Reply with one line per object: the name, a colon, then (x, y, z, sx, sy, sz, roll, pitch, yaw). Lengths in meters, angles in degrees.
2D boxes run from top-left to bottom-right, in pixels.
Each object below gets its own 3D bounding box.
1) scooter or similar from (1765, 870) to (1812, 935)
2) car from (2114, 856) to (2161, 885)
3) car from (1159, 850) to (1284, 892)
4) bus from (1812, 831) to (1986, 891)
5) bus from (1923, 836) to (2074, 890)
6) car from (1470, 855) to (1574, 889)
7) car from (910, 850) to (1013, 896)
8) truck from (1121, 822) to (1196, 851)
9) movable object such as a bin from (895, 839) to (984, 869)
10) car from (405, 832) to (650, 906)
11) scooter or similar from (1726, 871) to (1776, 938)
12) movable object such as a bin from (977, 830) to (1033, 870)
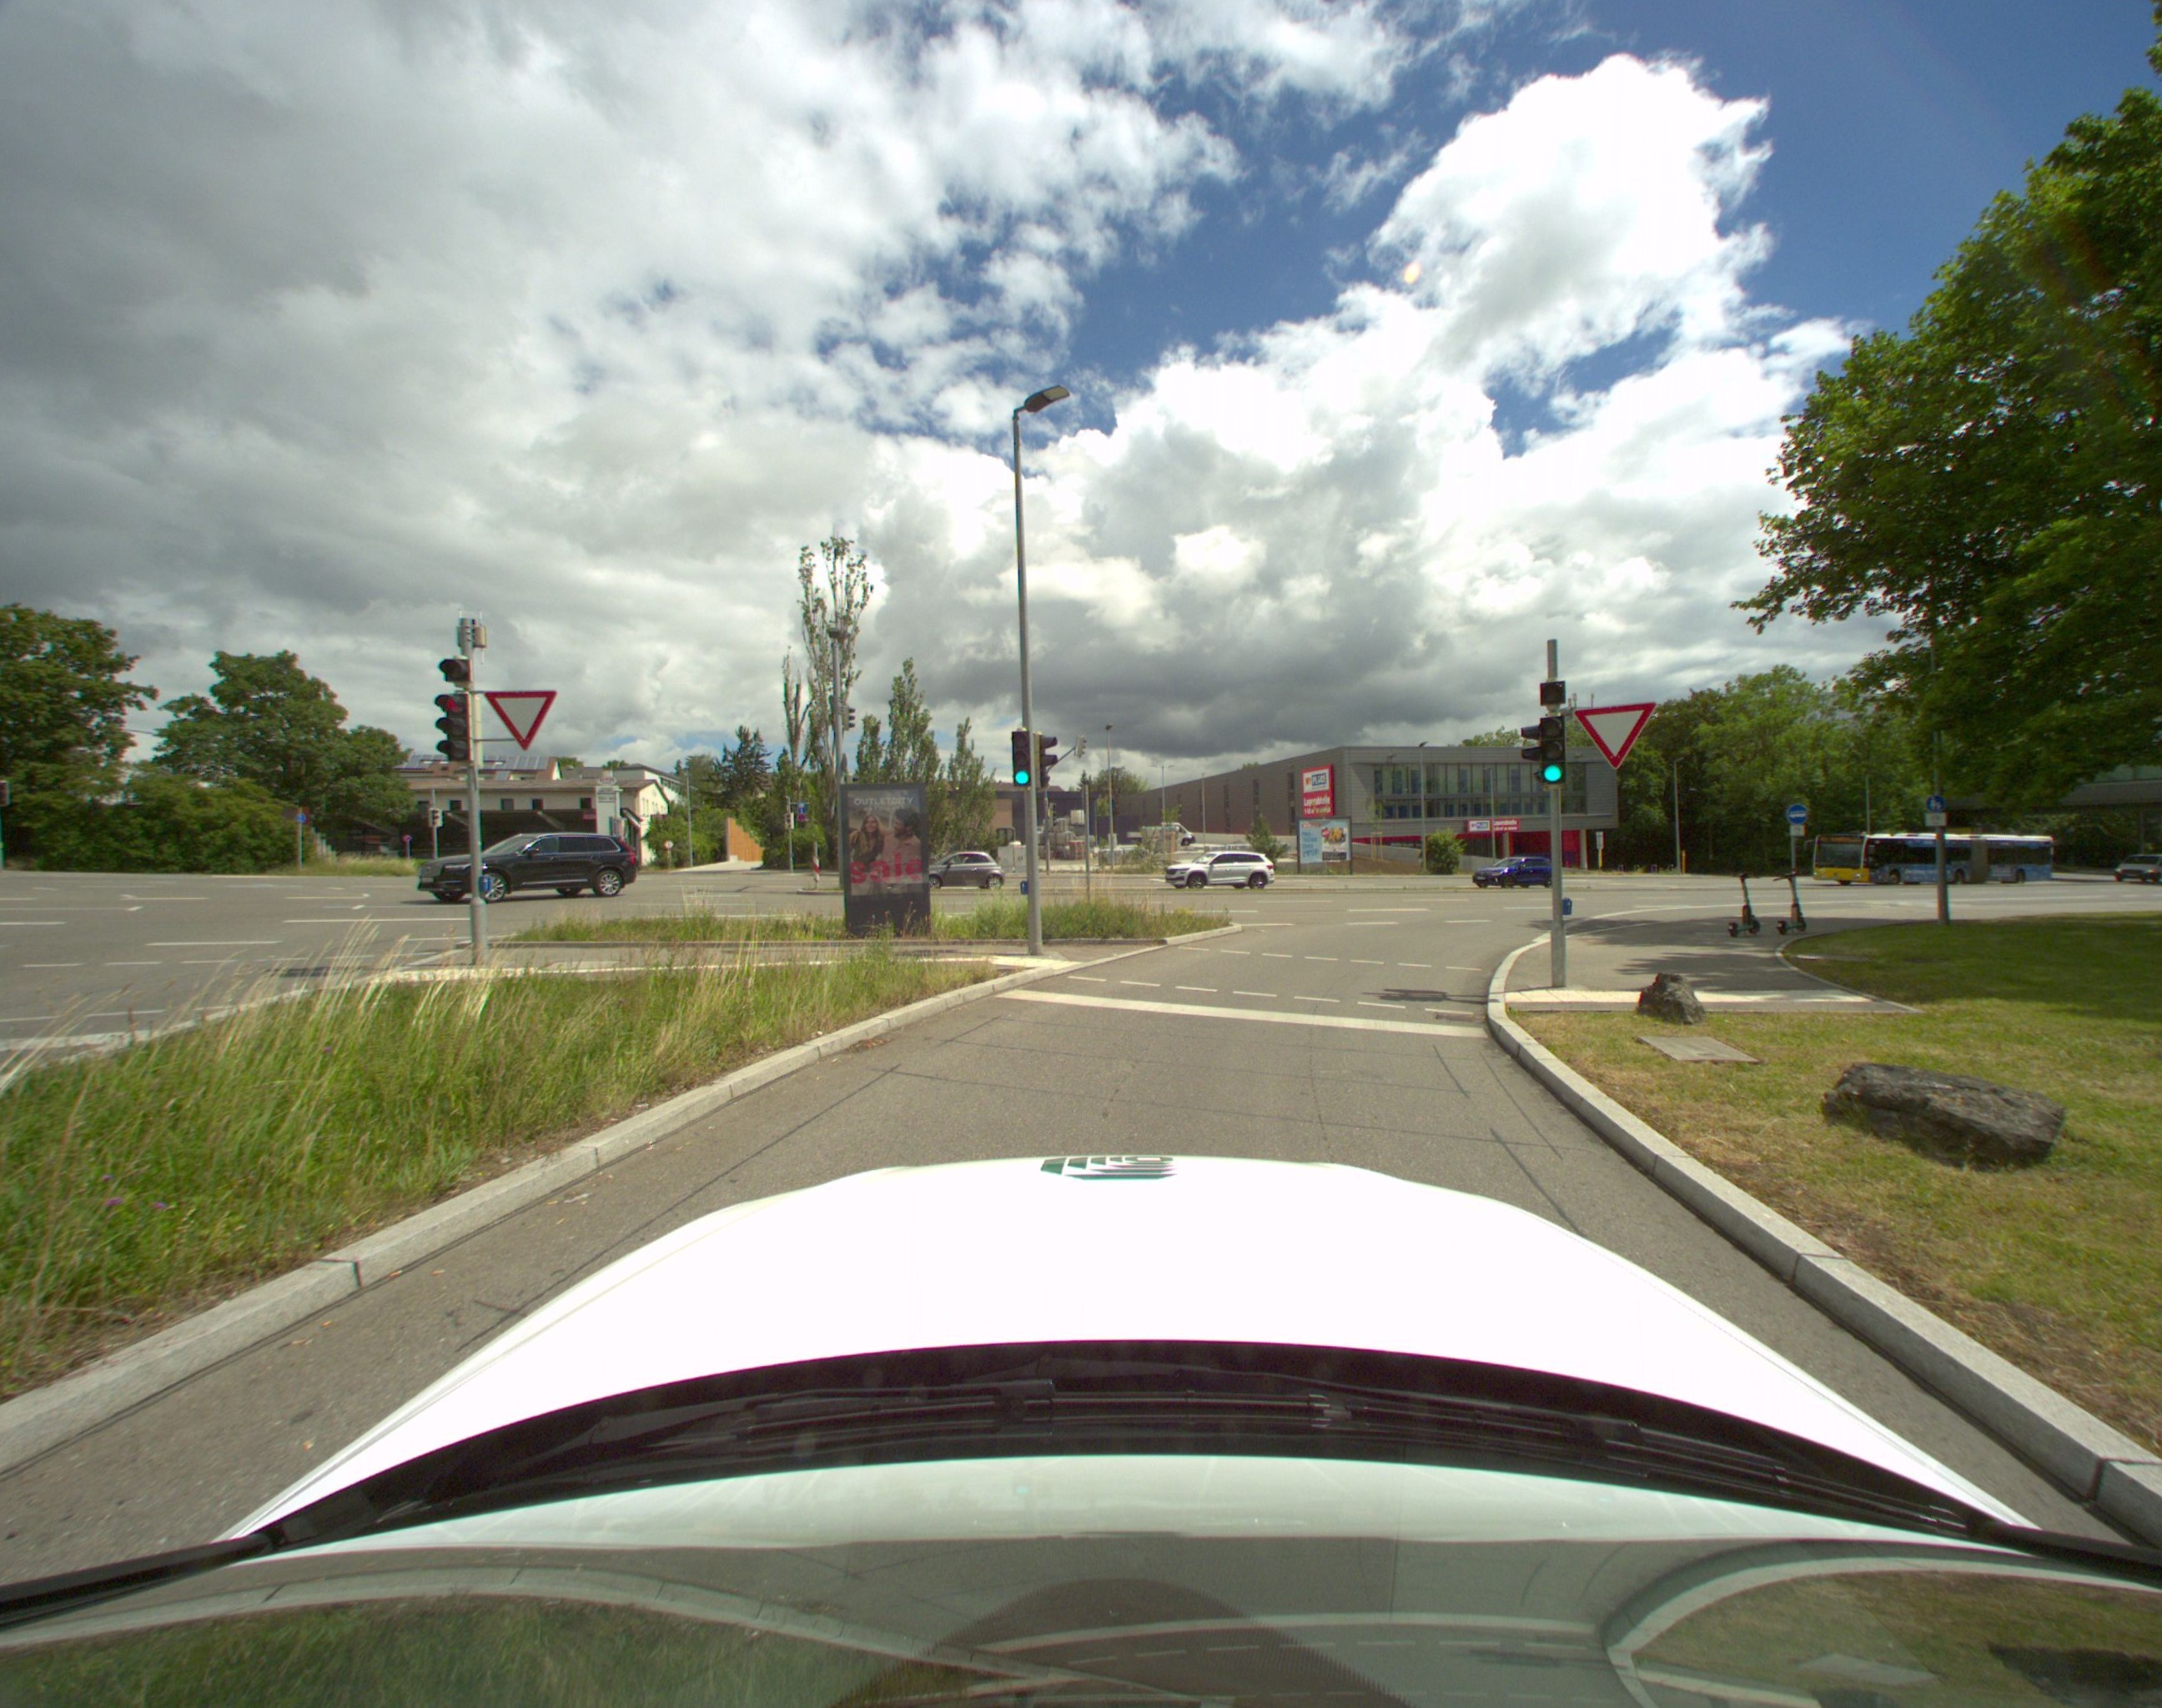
scooter or similar: (14.383, 0.972, 16.548, 1.196, 1.264, 0.528, 1, -2, -41)
car: (74.666, 1.093, 56.685, 4.747, 1.924, 1.872, 0, 0, -18)
car: (5.870, 0.669, 34.055, 4.893, 1.658, 1.725, 0, 0, -15)
bus: (47.820, 0.416, 47.612, 10.110, 3.285, 2.809, 1, 0, -17)
bus: (56.879, 0.469, 50.479, 8.899, 3.164, 2.809, 0, 1, -17)
car: (21.053, 0.820, 38.916, 4.392, 1.511, 1.801, 0, 1, -16)
car: (-4.482, 0.663, 30.582, 3.528, 1.460, 1.573, -3, 2, -23)
truck: (7.083, -1.627, 74.698, 6.544, 2.145, 1.998, -4, 1, -3)
movable object such as a bin: (-11.616, -0.063, 67.268, 6.911, 2.013, 2.292, -4, 1, -5)
car: (-14.320, 0.353, 21.475, 1.887, 1.689, 5.012, 1, 0, 27)
scooter or similar: (13.105, 0.968, 15.926, 1.196, 1.264, 0.528, 1, -2, -41)
movable object such as a bin: (-4.943, -0.265, 53.504, 3.392, 2.538, 2.153, 1, 0, 0)
